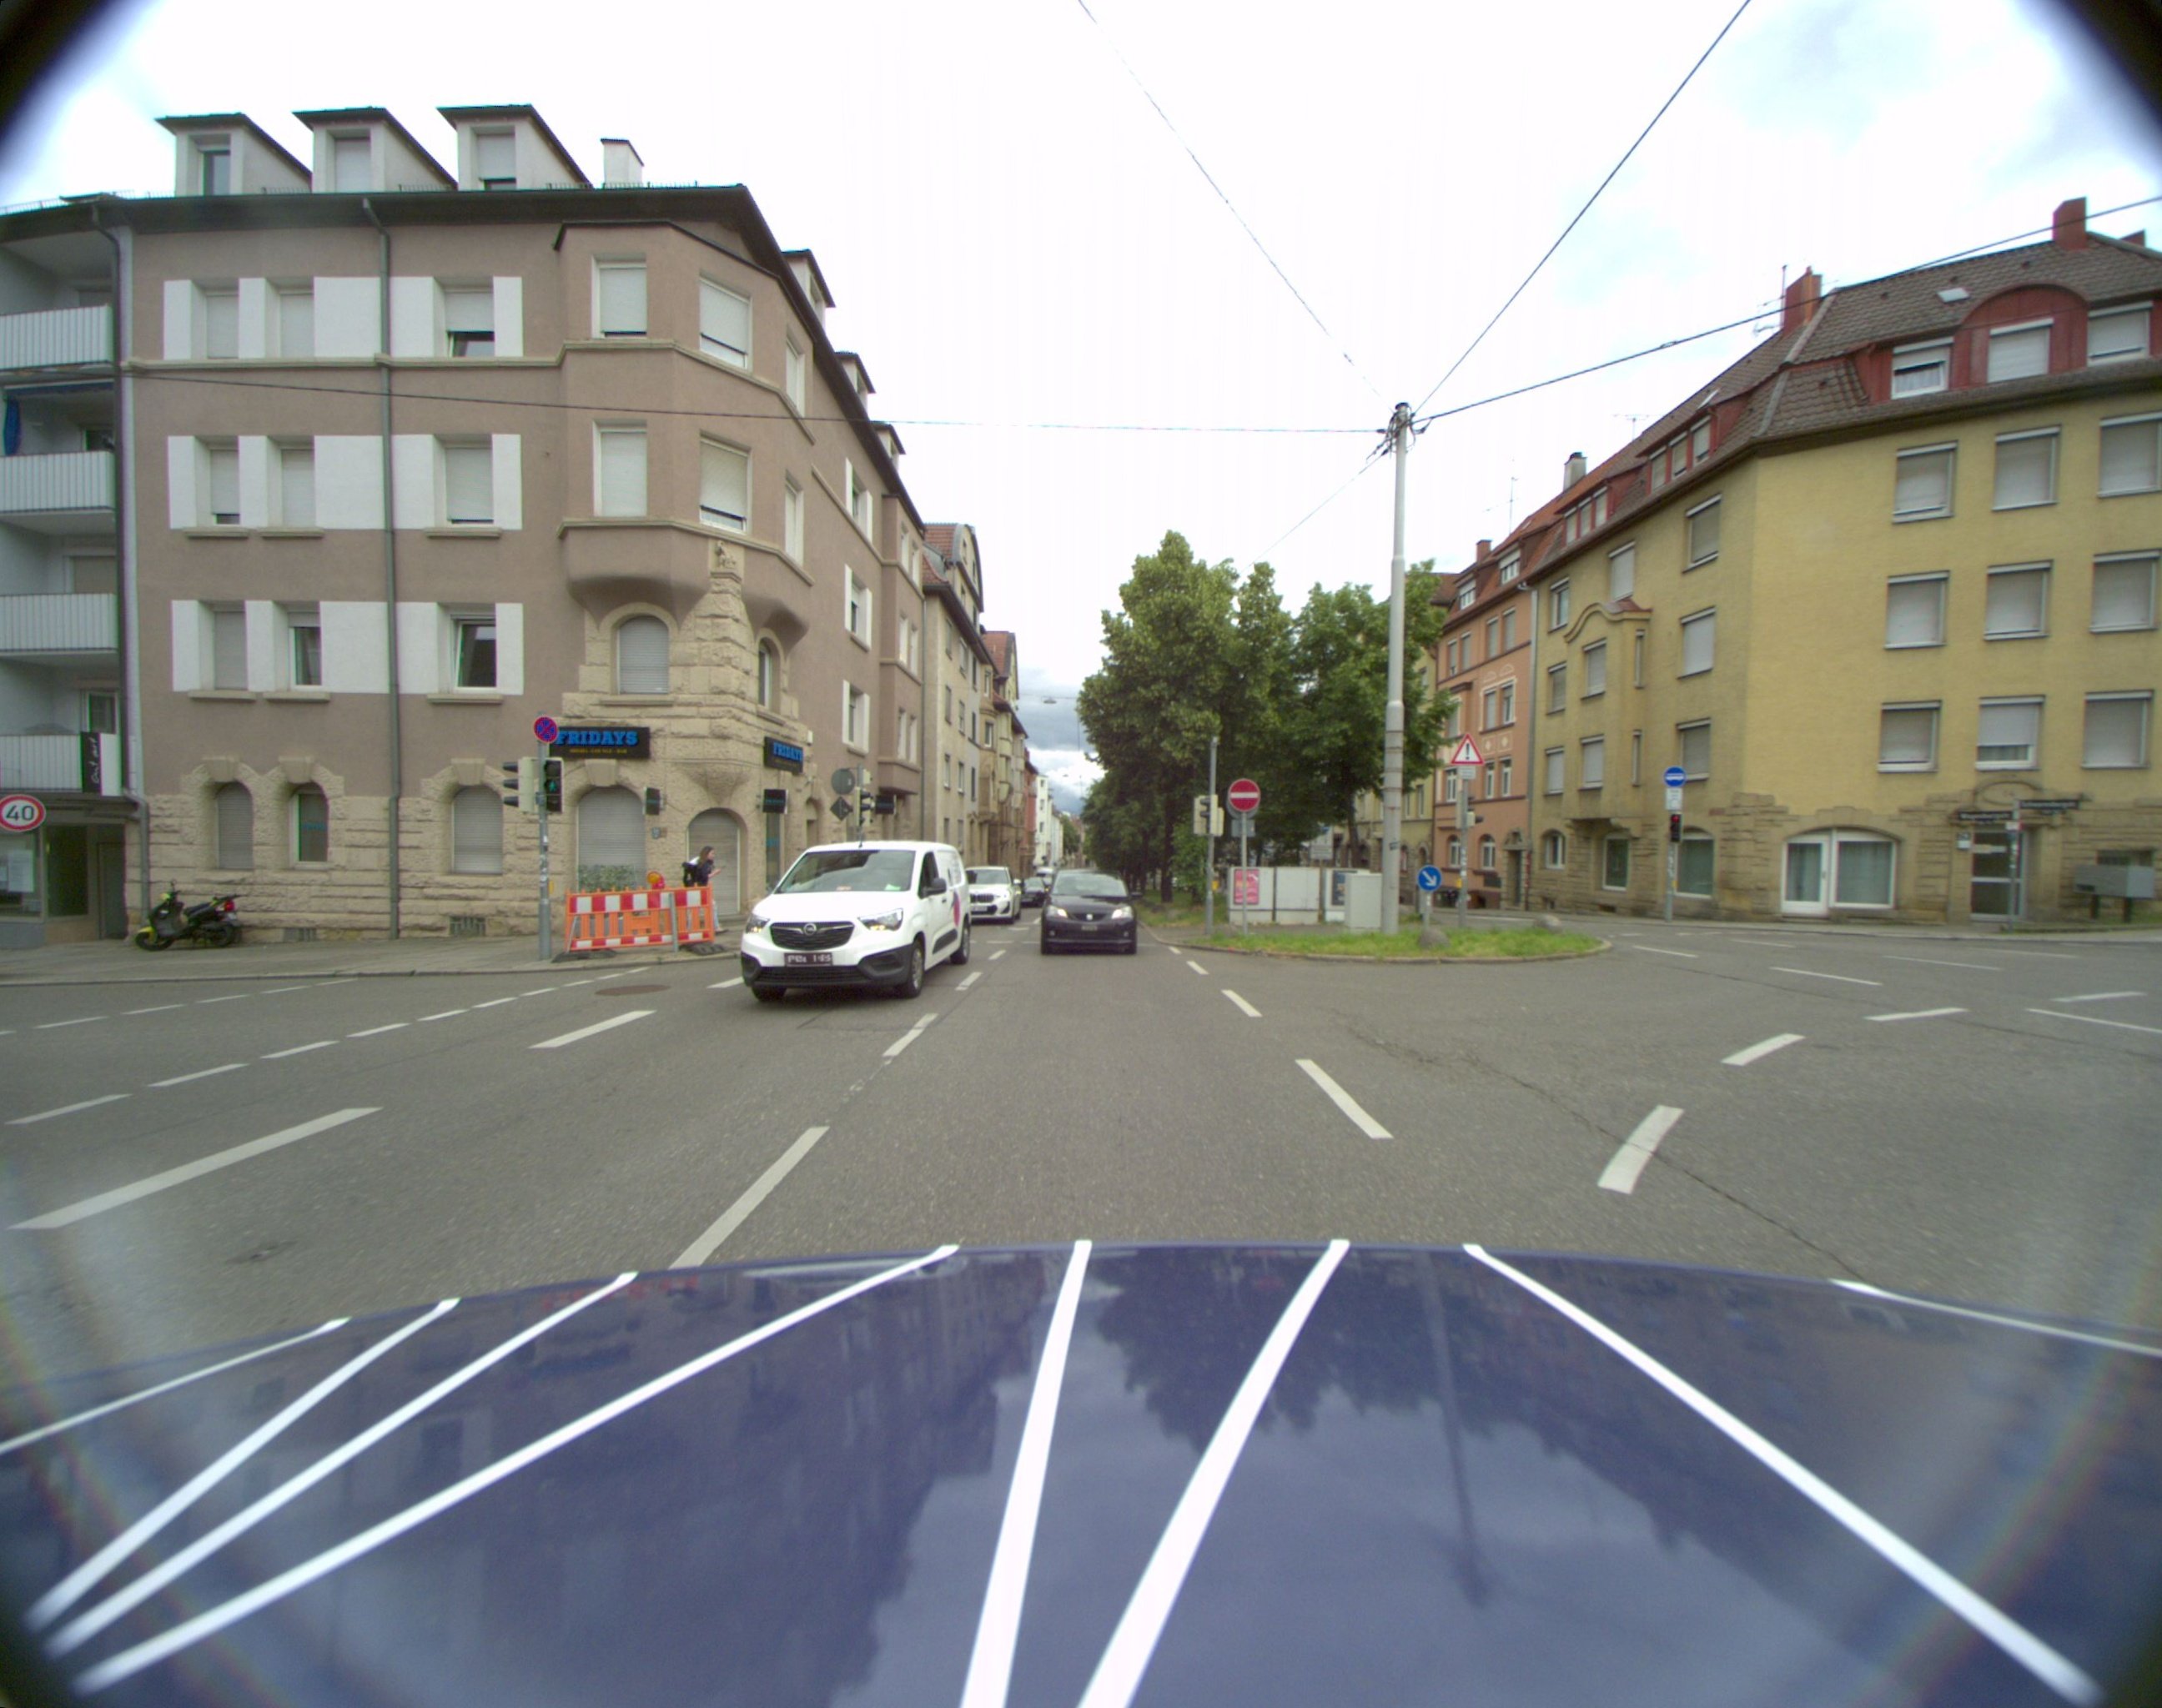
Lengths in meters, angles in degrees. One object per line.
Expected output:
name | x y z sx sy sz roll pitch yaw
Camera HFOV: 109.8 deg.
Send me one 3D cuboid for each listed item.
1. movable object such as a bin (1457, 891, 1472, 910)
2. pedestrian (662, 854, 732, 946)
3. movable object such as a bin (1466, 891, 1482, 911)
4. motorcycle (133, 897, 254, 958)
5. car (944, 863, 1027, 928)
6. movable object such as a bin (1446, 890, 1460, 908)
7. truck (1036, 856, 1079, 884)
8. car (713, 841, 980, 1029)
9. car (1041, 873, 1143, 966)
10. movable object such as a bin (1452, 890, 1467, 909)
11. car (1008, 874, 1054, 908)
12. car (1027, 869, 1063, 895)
movable object such as a bin | 17.852 2.146 35.346 0.487 0.859 0.449 1 -1 6
pedestrian | -7.127 0.834 14.147 1.005 1.638 0.734 -1 -1 -12
movable object such as a bin | 17.894 2.128 34.591 0.487 0.859 0.449 1 -1 6
motorcycle | -16.992 1.405 14.564 1.682 1.077 0.514 -1 3 2
car | -2.610 1.141 21.648 1.780 1.597 4.165 -2 -2 0
movable object such as a bin | 17.886 2.174 36.527 0.487 0.859 0.449 1 -1 6
truck | -2.426 1.796 83.122 2.549 2.890 7.788 1 -1 15
car | -2.588 0.837 9.748 1.788 1.778 4.845 -1 -1 1
car | 0.184 1.087 13.952 1.604 1.448 3.685 1 -1 0
movable object such as a bin | 17.900 2.161 35.956 0.487 0.859 0.449 1 -1 6
car | -2.294 1.715 35.766 1.780 1.433 4.165 -2 -2 0
car | -2.167 1.719 47.208 1.841 1.477 4.002 1 -1 3
